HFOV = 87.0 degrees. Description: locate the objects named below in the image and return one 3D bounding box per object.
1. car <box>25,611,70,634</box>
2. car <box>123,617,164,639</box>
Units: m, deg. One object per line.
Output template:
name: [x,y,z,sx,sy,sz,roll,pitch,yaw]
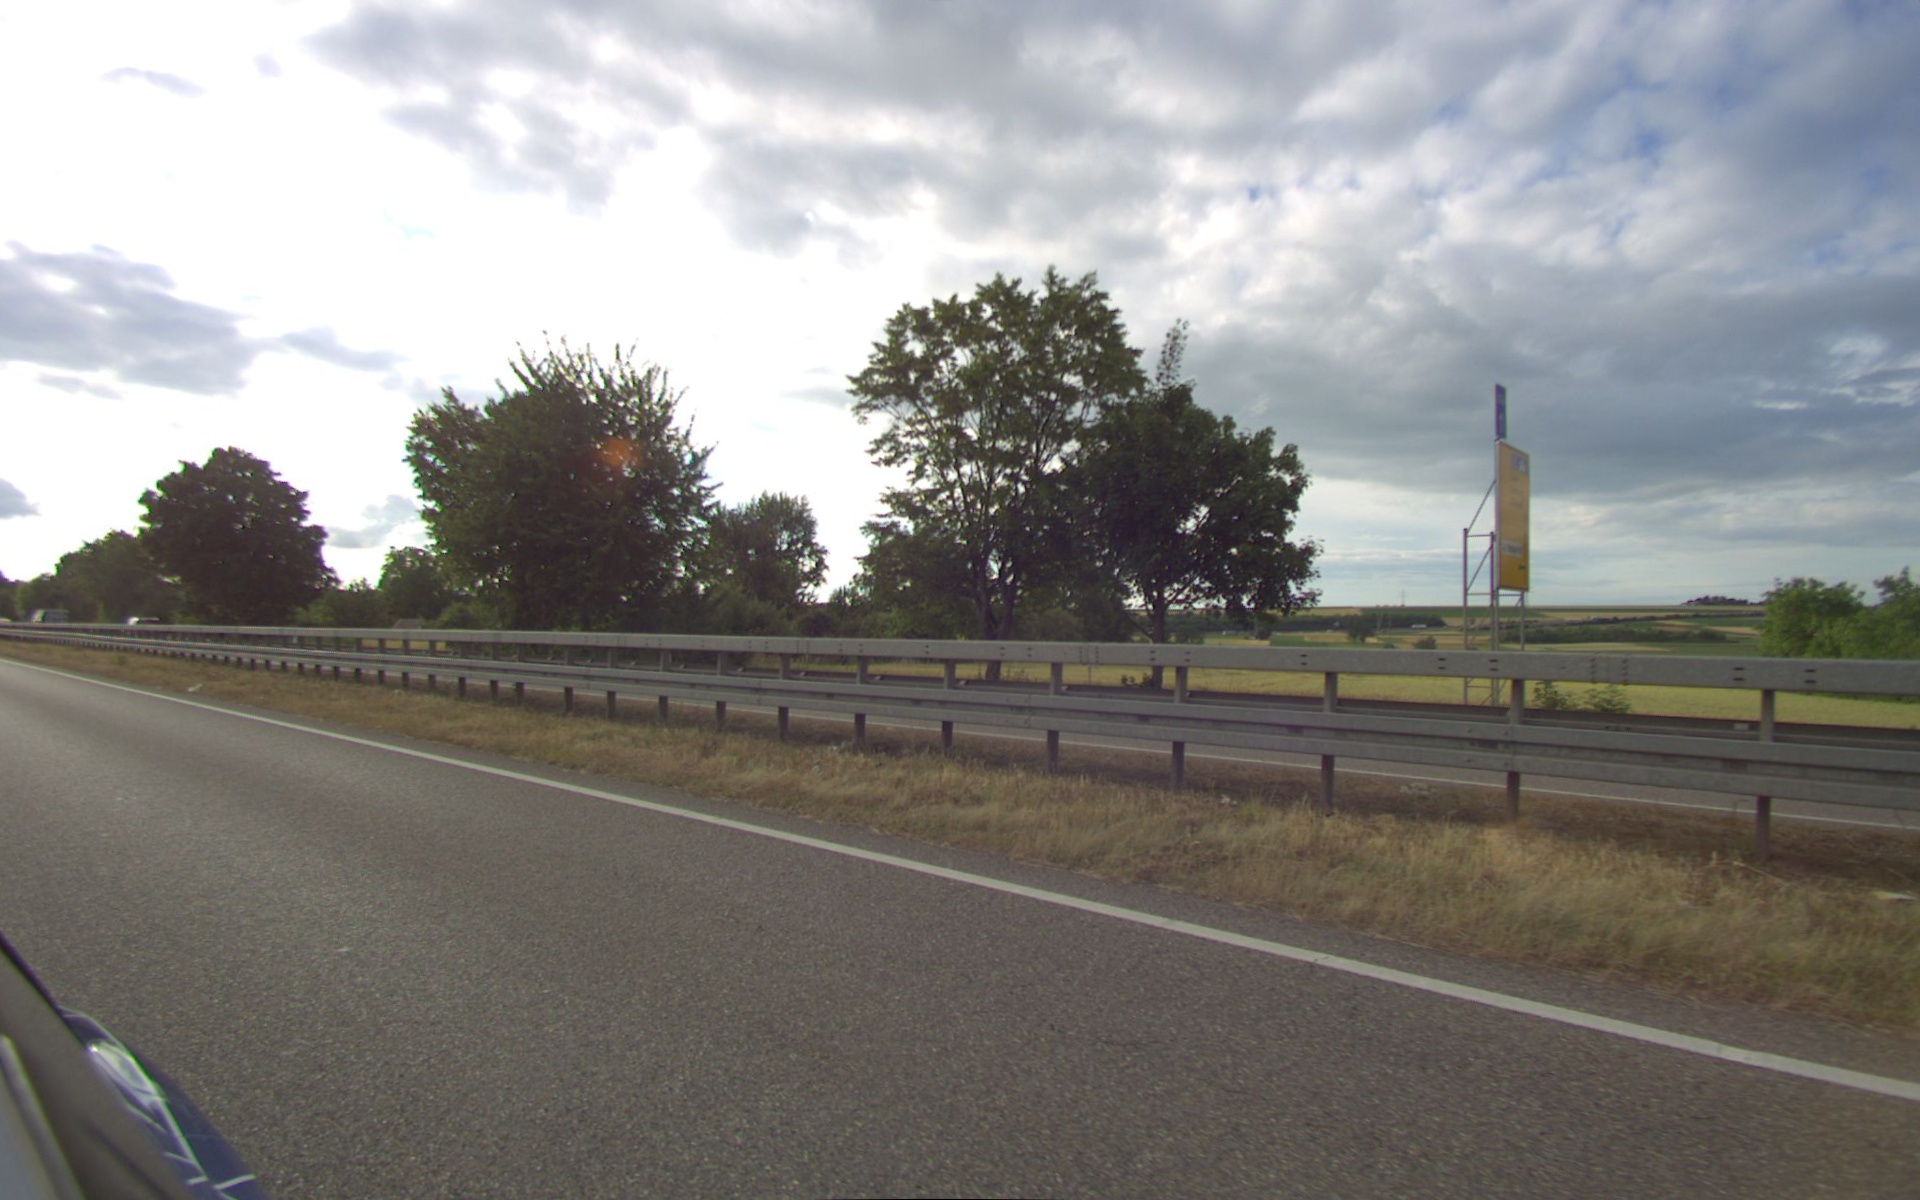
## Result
car: [-67.249,1.629,74.577,4.374,1.648,1.912,-1,-2,41]
car: [-55.487,1.874,68.765,3.470,1.390,1.585,-1,-1,41]
